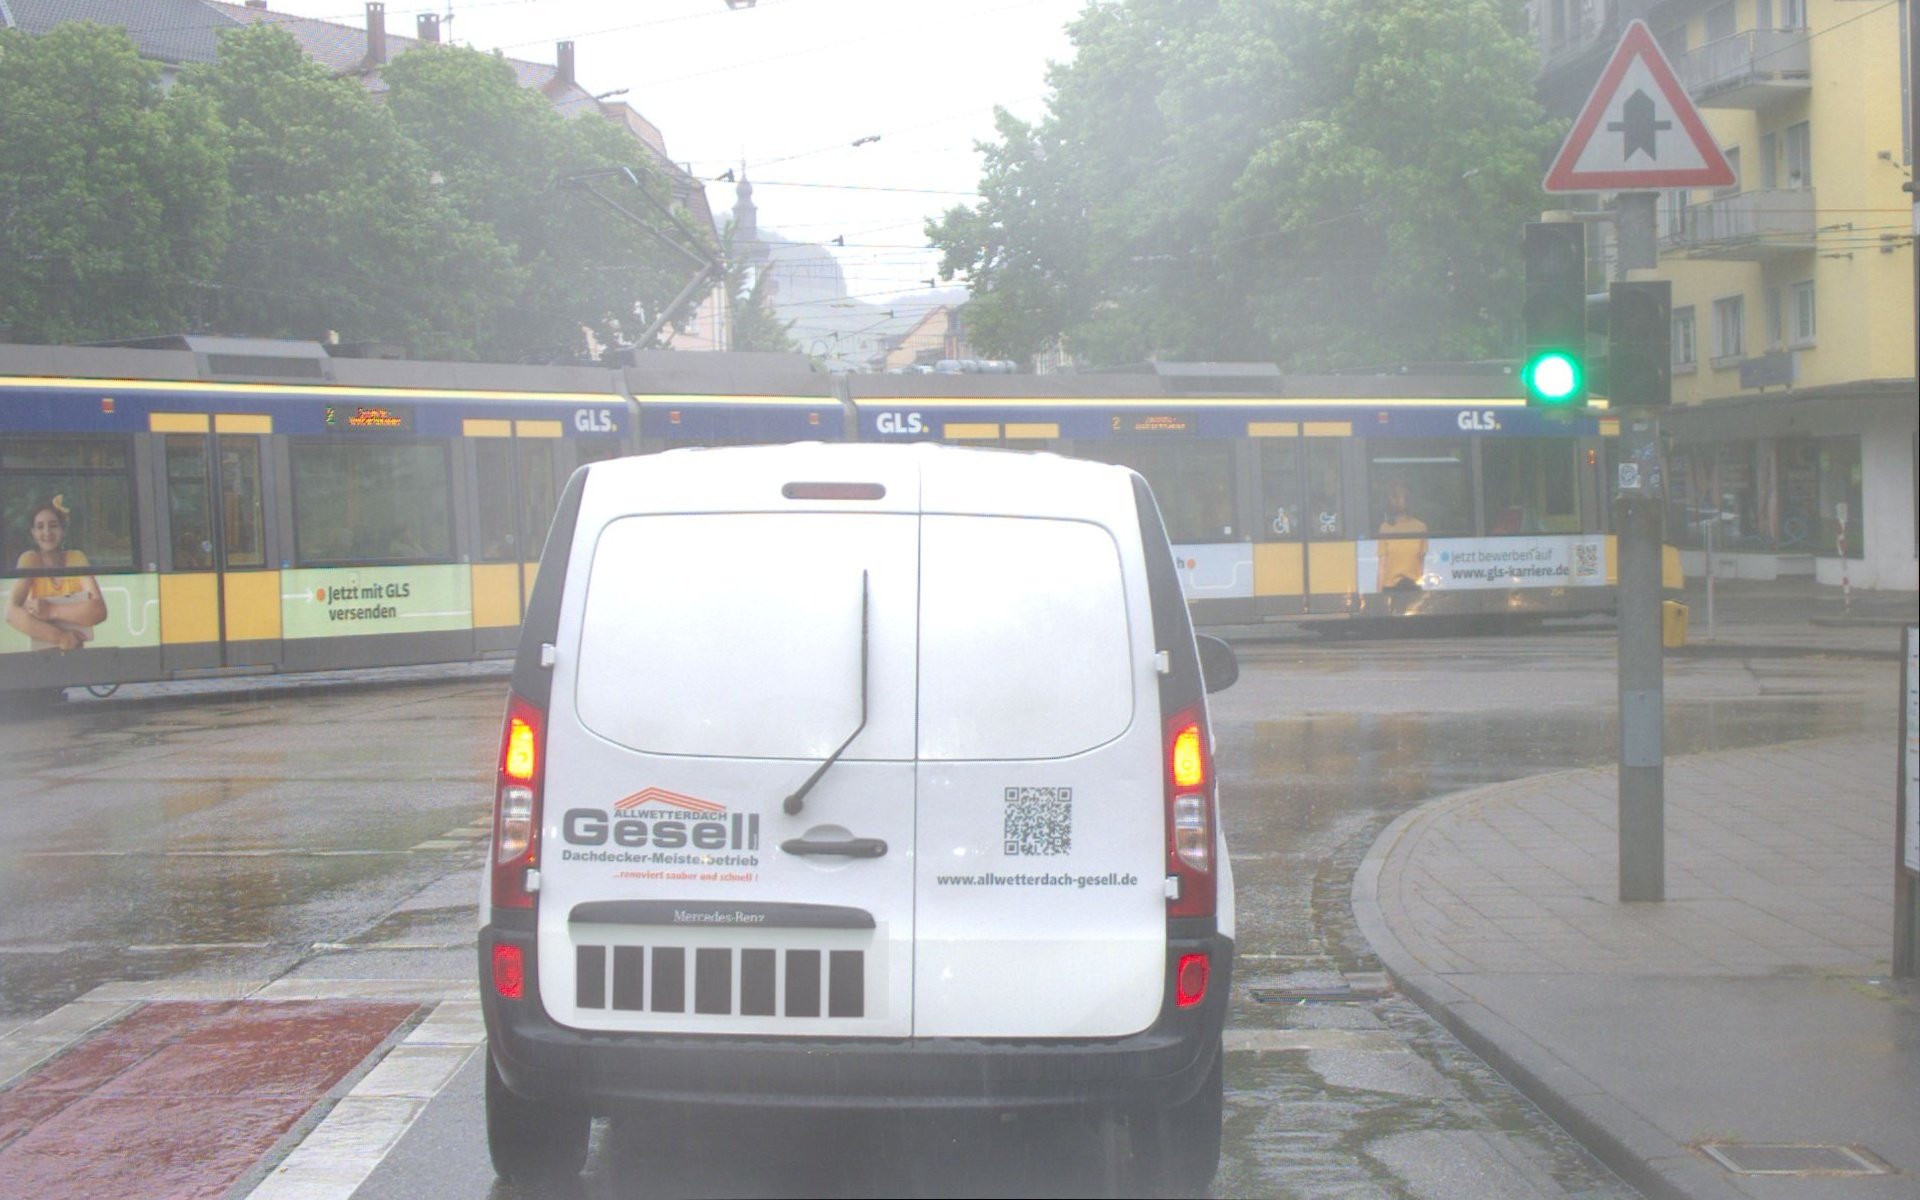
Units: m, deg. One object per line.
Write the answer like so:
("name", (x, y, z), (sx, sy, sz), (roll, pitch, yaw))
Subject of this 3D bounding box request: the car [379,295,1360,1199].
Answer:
("car", (-0.221, 0.328, 9.883), (2.100, 2.005, 4.963), (0, 1, -1))

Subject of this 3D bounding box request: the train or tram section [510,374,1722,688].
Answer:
("train or tram section", (2.339, -0.723, 42.611), (15.452, 3.401, 3.553), (1, 1, -30))

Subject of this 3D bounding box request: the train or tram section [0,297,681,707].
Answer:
("train or tram section", (-8.189, -0.886, 32.714), (3.519, 3.500, 13.634), (2, 1, 32))
